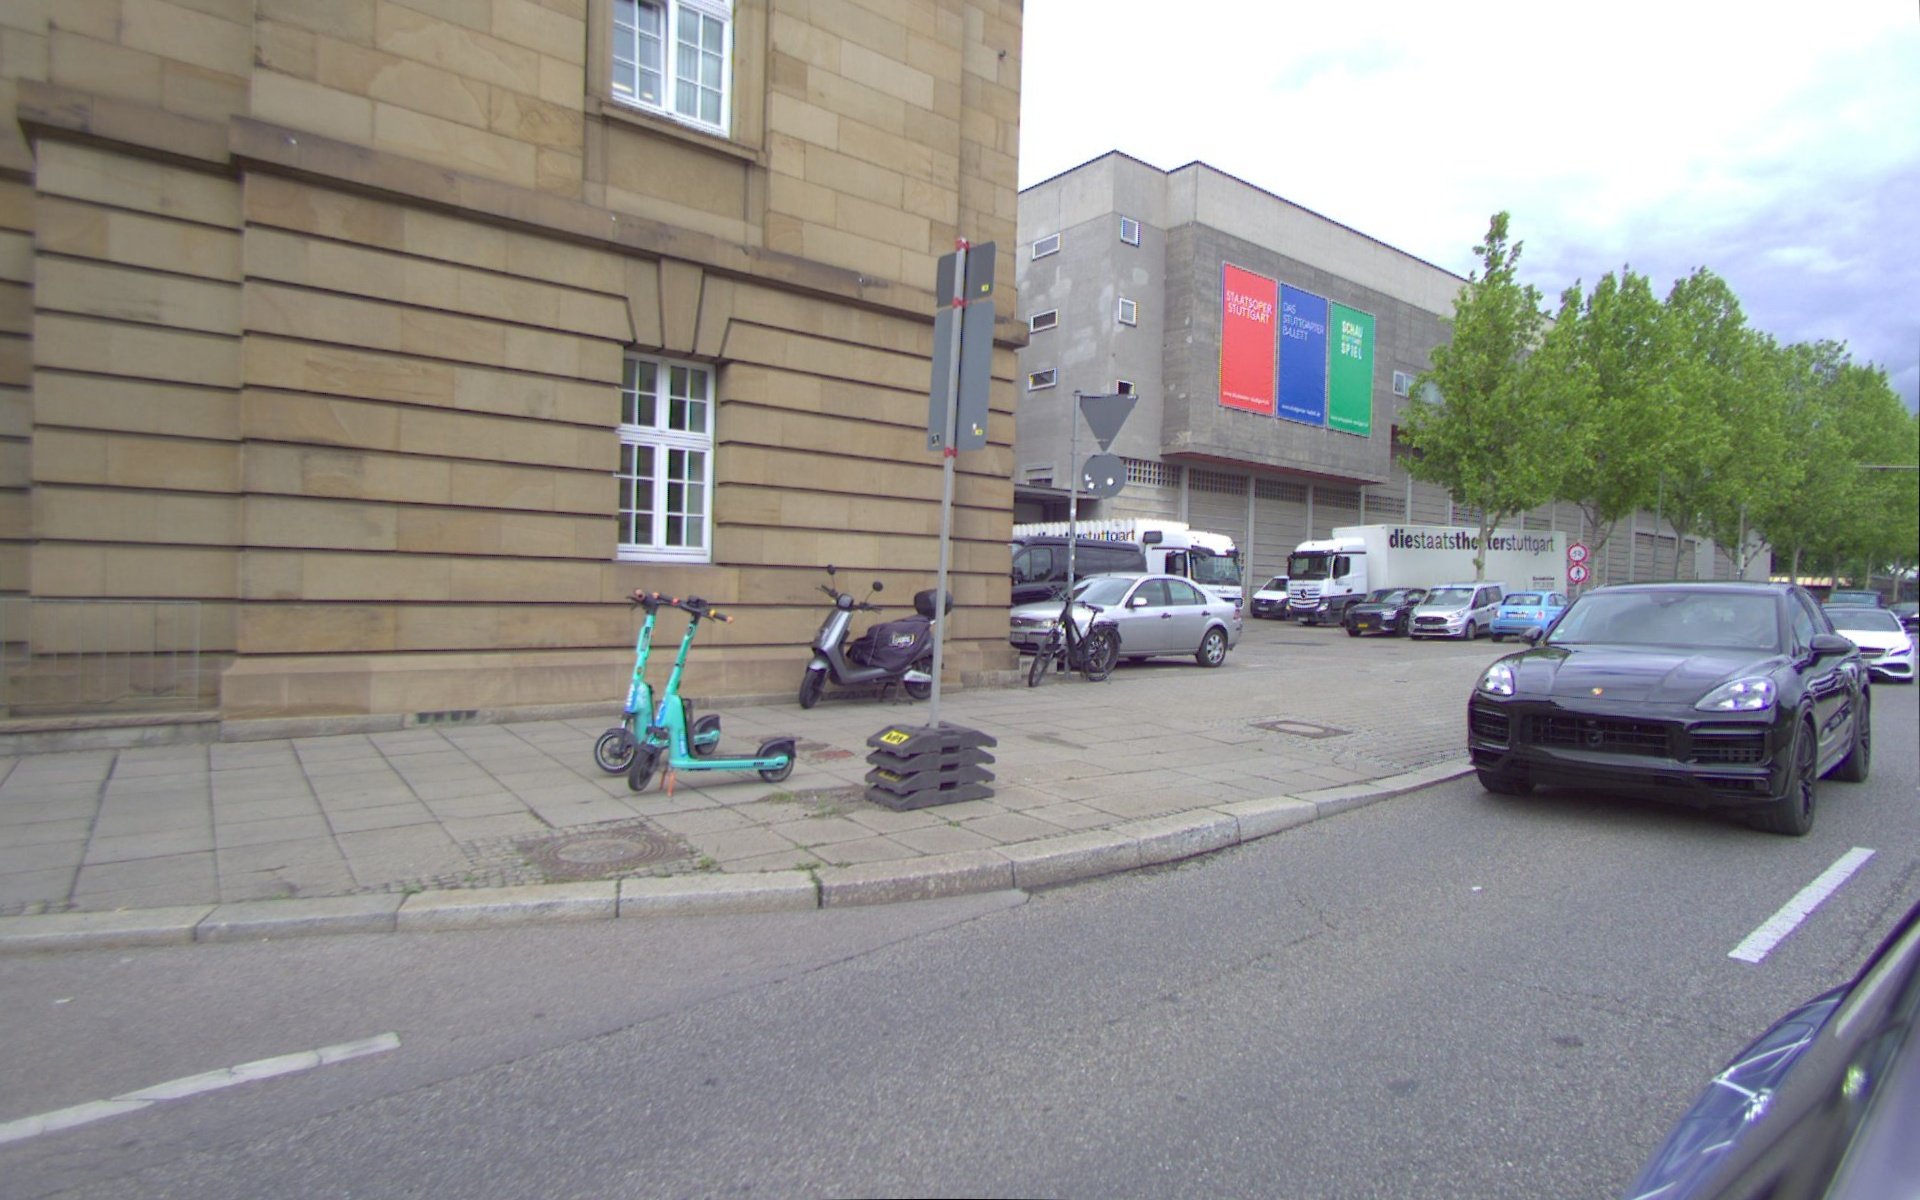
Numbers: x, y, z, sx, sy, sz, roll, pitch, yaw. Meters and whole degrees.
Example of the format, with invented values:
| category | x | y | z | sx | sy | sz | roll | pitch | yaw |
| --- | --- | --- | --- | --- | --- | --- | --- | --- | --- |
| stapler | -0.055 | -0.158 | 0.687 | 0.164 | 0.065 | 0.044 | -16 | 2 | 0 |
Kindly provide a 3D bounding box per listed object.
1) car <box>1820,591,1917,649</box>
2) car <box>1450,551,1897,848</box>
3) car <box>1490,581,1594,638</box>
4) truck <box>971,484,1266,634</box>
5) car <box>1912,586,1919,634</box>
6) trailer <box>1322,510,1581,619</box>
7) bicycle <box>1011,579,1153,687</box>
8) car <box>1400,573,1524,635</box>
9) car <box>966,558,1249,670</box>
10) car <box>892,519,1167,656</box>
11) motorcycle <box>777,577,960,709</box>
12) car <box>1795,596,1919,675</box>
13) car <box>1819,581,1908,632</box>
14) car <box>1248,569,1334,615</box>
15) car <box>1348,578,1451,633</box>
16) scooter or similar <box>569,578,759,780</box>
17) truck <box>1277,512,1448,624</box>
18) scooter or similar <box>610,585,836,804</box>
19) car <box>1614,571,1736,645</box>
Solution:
| category | x | y | z | sx | sy | sz | roll | pitch | yaw |
| --- | --- | --- | --- | --- | --- | --- | --- | --- | --- |
| car | 25.394 | 0.514 | 28.263 | 3.559 | 1.491 | 1.611 | 0 | 1 | -42 |
| car | 5.644 | 0.541 | 7.809 | 4.127 | 1.678 | 1.906 | 0 | 1 | -41 |
| car | 16.985 | 0.243 | 29.494 | 3.442 | 1.549 | 1.583 | 0 | 1 | -41 |
| truck | 4.795 | -1.369 | 33.644 | 2.945 | 4.257 | 10.381 | 0 | 2 | -38 |
| car | 43.340 | 0.427 | 44.525 | 3.935 | 2.039 | 1.994 | 0 | 0 | -45 |
| trailer | 21.487 | -1.419 | 43.663 | 13.697 | 4.153 | 3.160 | -1 | -1 | -32 |
| bicycle | 1.571 | 0.386 | 12.824 | 1.929 | 1.239 | 0.610 | 0 | 4 | -42 |
| car | 15.677 | 0.121 | 31.517 | 4.540 | 1.807 | 1.808 | 0 | -2 | -41 |
| car | 2.383 | 0.193 | 15.599 | 4.493 | 1.488 | 1.782 | 1 | 0 | -40 |
| car | 1.337 | -0.185 | 17.838 | 4.828 | 2.095 | 1.952 | 1 | 0 | -40 |
| motorcycle | -0.913 | 0.405 | 10.448 | 1.886 | 1.257 | 0.456 | 0 | 2 | -35 |
| car | 18.179 | 0.636 | 20.141 | 3.933 | 1.393 | 1.932 | 0 | 1 | -43 |
| car | 36.527 | 0.232 | 40.867 | 4.319 | 1.950 | 1.953 | 0 | 1 | -38 |
| car | 14.427 | -0.351 | 44.064 | 3.924 | 1.905 | 1.560 | 0 | 0 | -35 |
| car | 14.561 | 0.148 | 33.474 | 3.695 | 1.710 | 1.718 | 0 | 1 | -41 |
| scooter or similar | -2.052 | 0.490 | 7.173 | 0.449 | 1.268 | 1.355 | 1 | 2 | 31 |
| truck | 16.113 | -1.240 | 40.421 | 6.444 | 4.136 | 3.145 | 0 | 1 | -32 |
| scooter or similar | -1.494 | 0.550 | 6.517 | 1.378 | 1.277 | 0.380 | 0 | 1 | -39 |
| car | 18.637 | 0.210 | 26.303 | 4.410 | 1.760 | 1.806 | 1 | 0 | -44 |
